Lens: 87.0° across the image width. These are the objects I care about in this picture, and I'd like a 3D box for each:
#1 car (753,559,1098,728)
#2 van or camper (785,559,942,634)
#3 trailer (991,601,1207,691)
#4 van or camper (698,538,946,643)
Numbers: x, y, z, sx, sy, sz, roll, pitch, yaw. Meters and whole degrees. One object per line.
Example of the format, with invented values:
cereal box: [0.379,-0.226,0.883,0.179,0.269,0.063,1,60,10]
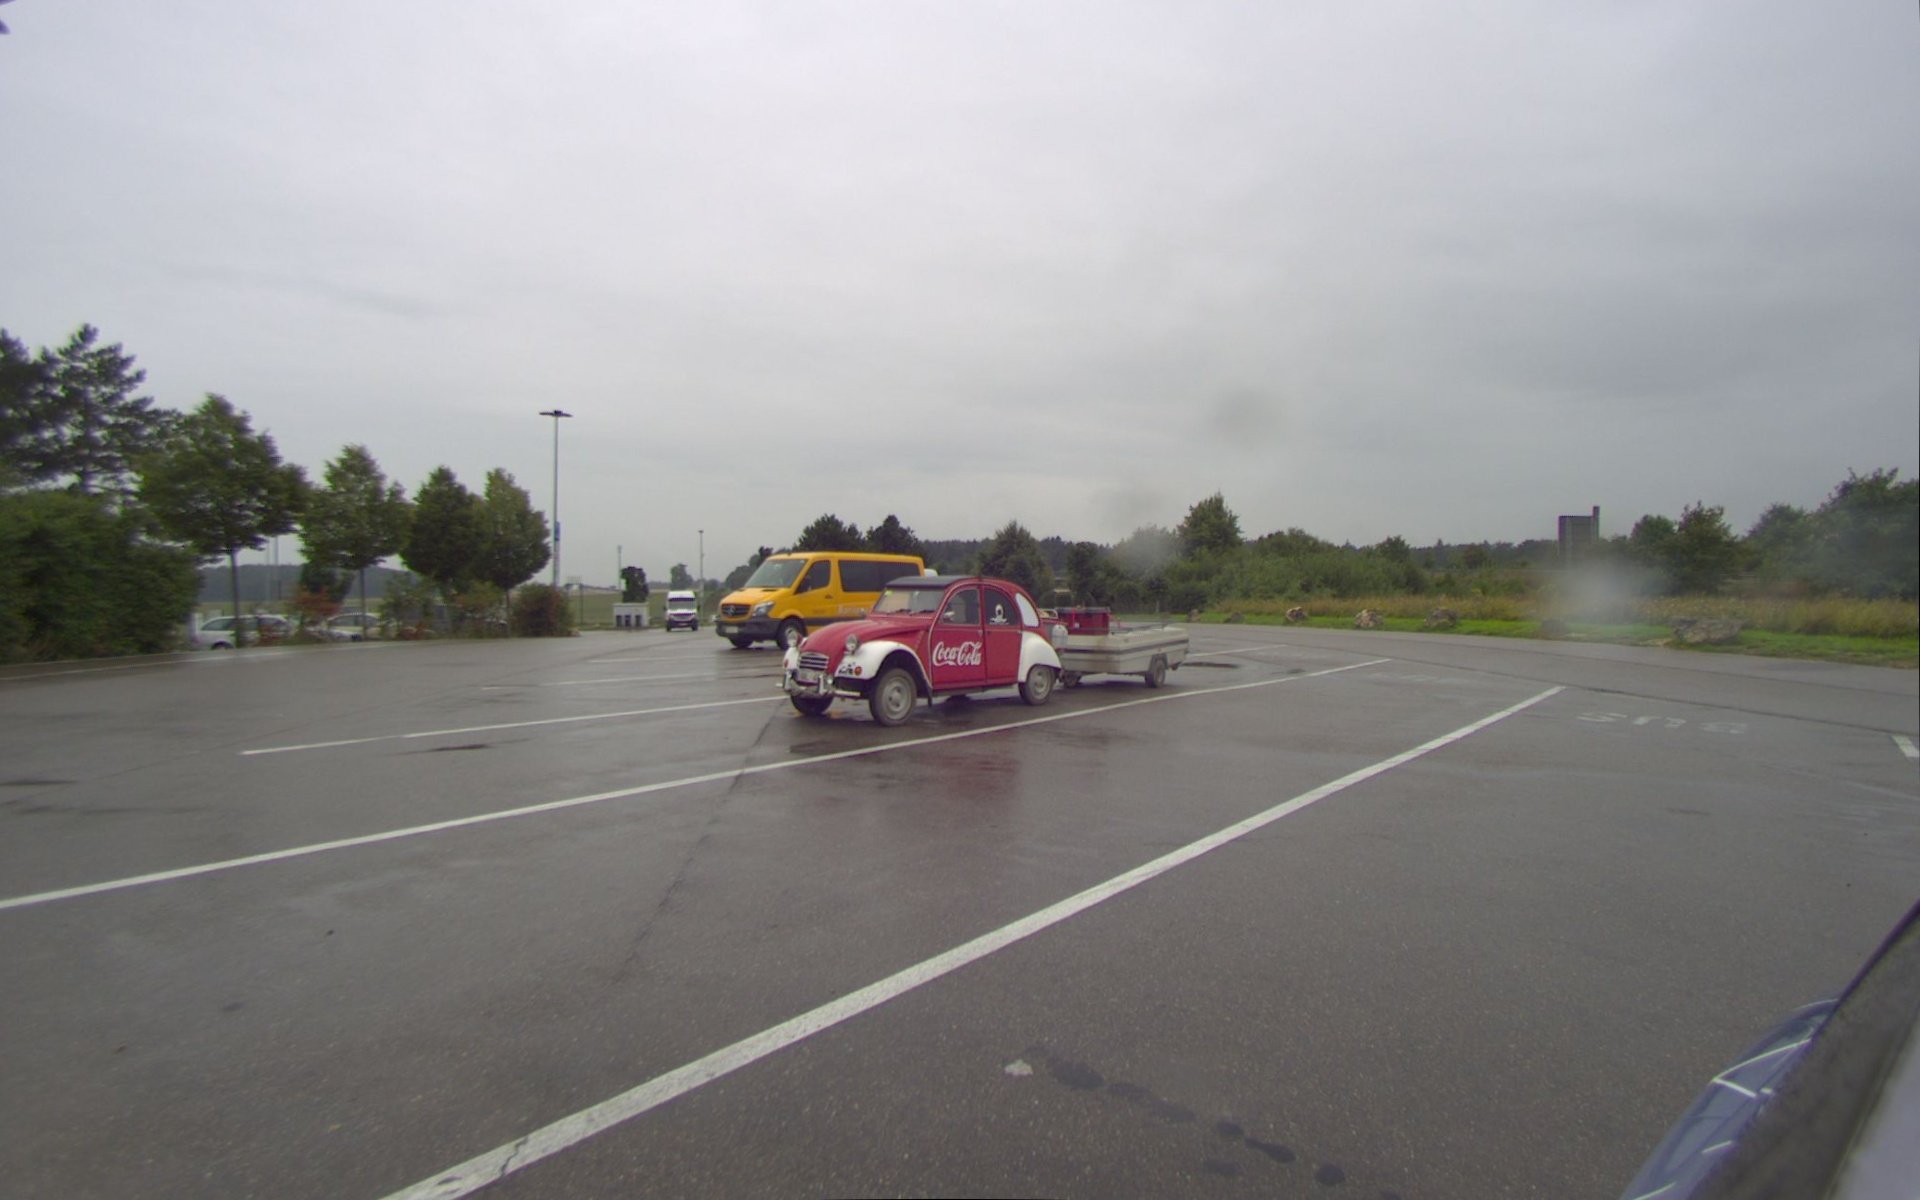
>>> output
car: [-0.237,0.366,11.433,1.544,1.575,3.994,1,1,43]
van or camper: [-3.783,-0.202,41.301,1.991,2.748,6.966,3,3,40]
trailer: [2.004,0.571,14.139,1.583,1.081,2.983,0,0,43]
van or camper: [-3.208,-0.260,25.046,2.125,2.274,6.325,1,1,40]
